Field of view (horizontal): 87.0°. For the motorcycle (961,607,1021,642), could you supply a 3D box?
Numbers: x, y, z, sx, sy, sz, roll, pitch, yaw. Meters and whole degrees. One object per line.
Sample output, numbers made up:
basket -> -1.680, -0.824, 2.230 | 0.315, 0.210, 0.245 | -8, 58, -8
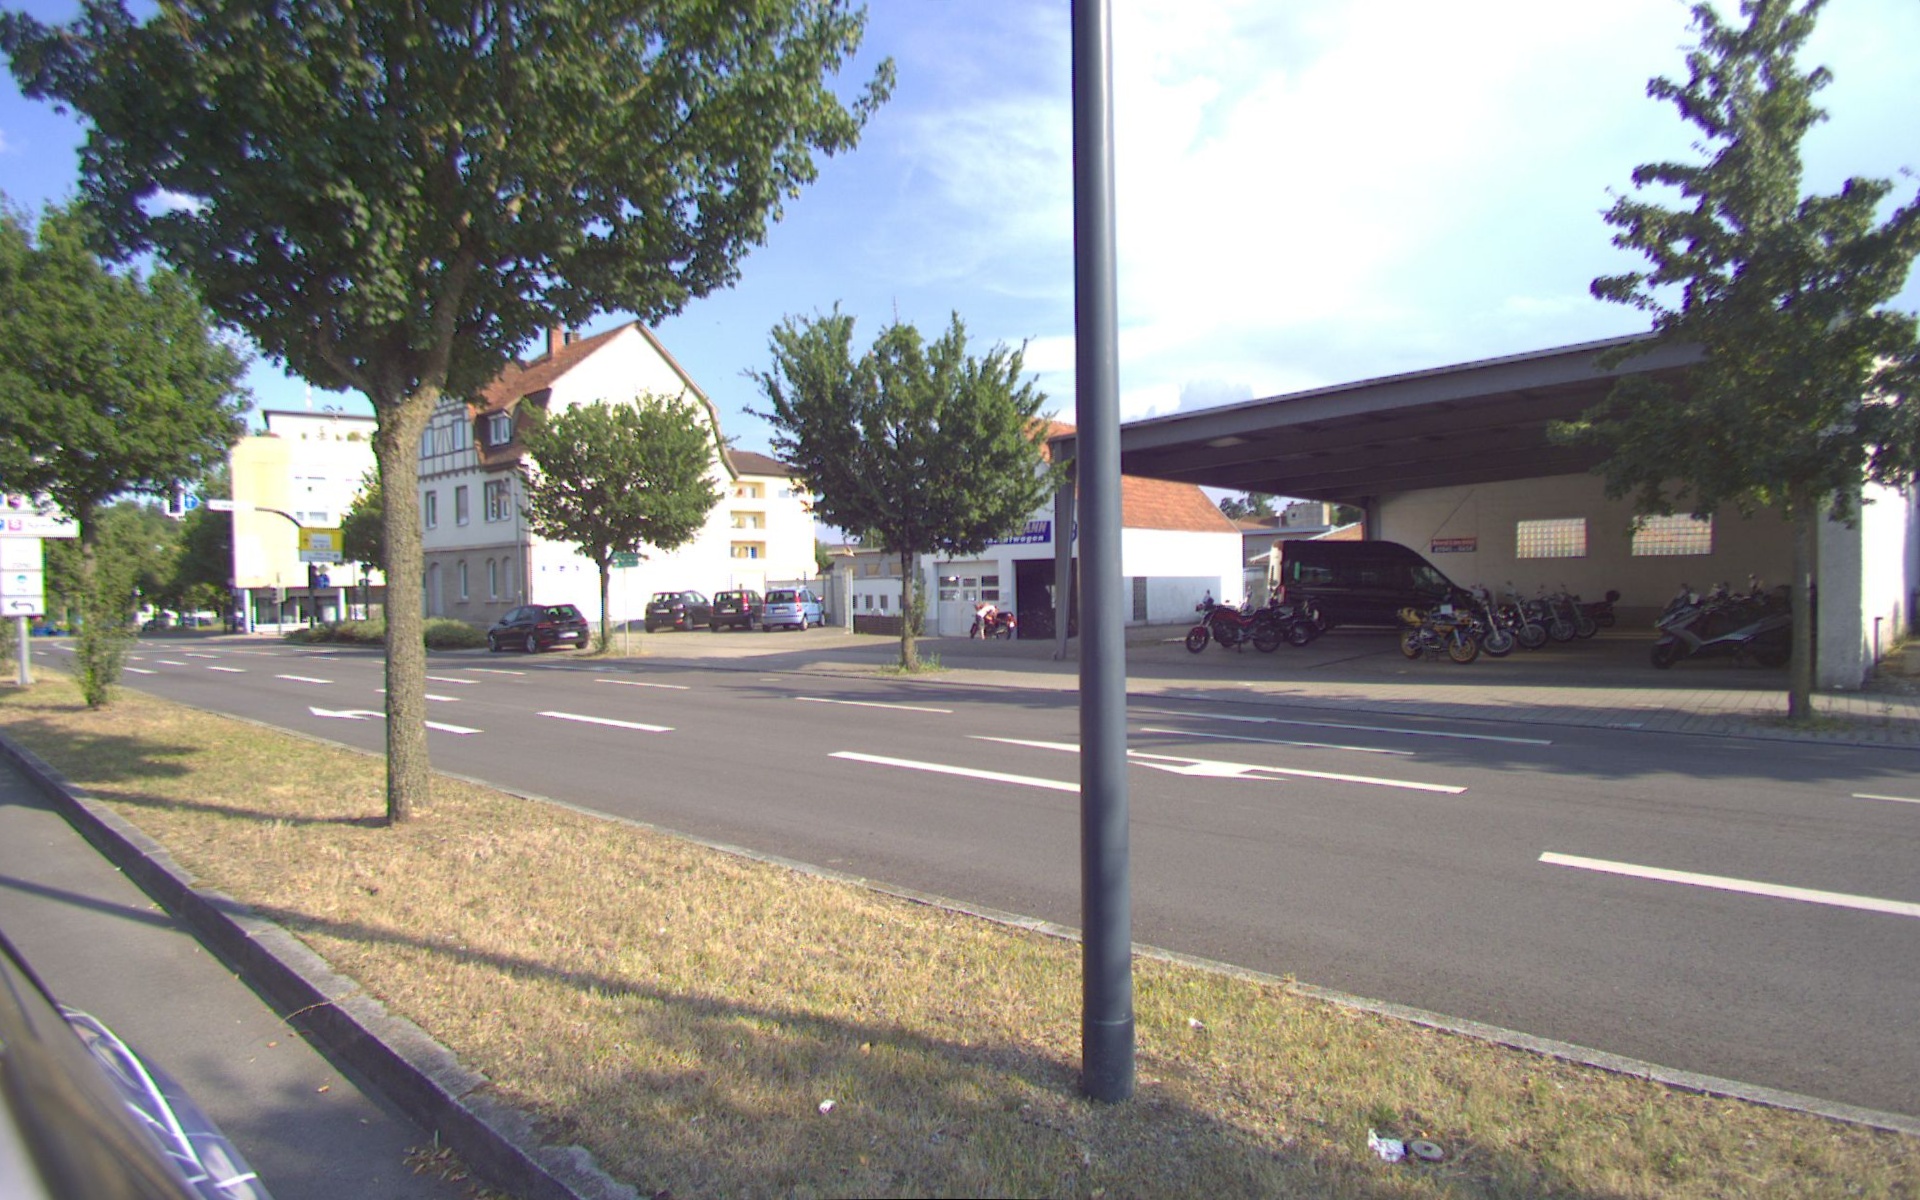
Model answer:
motorcycle -> 1.031, 0.833, 34.515 | 2.114, 1.155, 0.483 | -2, 0, 35

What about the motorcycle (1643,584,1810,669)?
motorcycle -> 12.376, 0.432, 16.399 | 2.074, 1.310, 0.523 | -1, 0, 15

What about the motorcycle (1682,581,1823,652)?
motorcycle -> 15.325, 0.328, 19.618 | 2.074, 1.310, 0.523 | -1, 0, 15

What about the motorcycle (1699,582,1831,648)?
motorcycle -> 16.789, 0.316, 21.149 | 2.074, 1.310, 0.523 | -1, 0, 15

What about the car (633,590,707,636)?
car -> -11.016, 0.470, 38.667 | 1.836, 1.638, 3.410 | -1, 0, 0

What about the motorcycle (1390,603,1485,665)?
motorcycle -> 9.105, 0.629, 19.382 | 0.542, 1.107, 2.052 | -1, 0, -9

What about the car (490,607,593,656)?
car -> -12.935, 0.930, 31.213 | 3.433, 1.327, 1.650 | 0, 3, 45

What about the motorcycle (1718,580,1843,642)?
motorcycle -> 18.130, 0.245, 22.412 | 2.074, 1.310, 0.523 | -1, 0, 15

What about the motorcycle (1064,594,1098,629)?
motorcycle -> 4.874, 0.448, 40.788 | 0.487, 1.332, 2.096 | -2, 0, 32

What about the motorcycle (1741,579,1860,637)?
motorcycle -> 19.708, 0.192, 23.761 | 2.074, 1.310, 0.523 | -1, 0, 15

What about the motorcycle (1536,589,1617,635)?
motorcycle -> 15.895, 0.304, 26.153 | 0.542, 1.107, 2.052 | -1, 0, -9

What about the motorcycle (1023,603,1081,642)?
motorcycle -> 3.289, 0.796, 36.121 | 2.082, 1.332, 0.490 | -1, 0, -27

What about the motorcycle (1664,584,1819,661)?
motorcycle -> 13.697, 0.399, 17.795 | 2.074, 1.310, 0.523 | -1, 0, 15

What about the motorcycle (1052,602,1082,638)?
motorcycle -> 4.069, 0.742, 38.320 | 0.486, 1.332, 2.102 | -2, 0, 24

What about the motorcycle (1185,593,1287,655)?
motorcycle -> 6.089, 0.529, 22.426 | 2.096, 1.332, 0.487 | -1, 0, 11

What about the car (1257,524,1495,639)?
car -> 11.736, -0.479, 29.062 | 5.734, 2.982, 2.670 | -1, 0, 9

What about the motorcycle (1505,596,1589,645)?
motorcycle -> 14.133, 0.478, 24.422 | 0.542, 1.107, 2.052 | -1, 0, -9

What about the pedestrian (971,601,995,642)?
pedestrian -> 0.763, 0.723, 34.097 | 0.583, 1.350, 0.589 | -1, 0, 34

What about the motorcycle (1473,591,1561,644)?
motorcycle -> 12.481, 0.382, 22.744 | 0.542, 1.107, 2.052 | -1, 0, -9

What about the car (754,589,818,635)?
car -> -6.264, 0.430, 36.698 | 1.599, 1.555, 3.429 | -1, -1, 2

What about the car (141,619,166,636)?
car -> -102.804, 3.458, 129.043 | 1.966, 2.029, 4.012 | -1, 0, -30

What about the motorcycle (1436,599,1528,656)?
motorcycle -> 10.775, 0.551, 20.984 | 0.542, 1.107, 2.052 | -1, 0, -9

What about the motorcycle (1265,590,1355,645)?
motorcycle -> 8.962, 0.438, 25.913 | 2.090, 1.332, 0.488 | -1, 0, 1

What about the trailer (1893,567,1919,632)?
trailer -> 18.699, -0.051, 18.116 | 3.312, 1.121, 2.174 | -2, 1, -33

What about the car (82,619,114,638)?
car -> -100.321, 3.273, 117.823 | 1.789, 2.029, 4.013 | -1, 0, -23

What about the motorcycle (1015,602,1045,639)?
motorcycle -> 2.672, 0.764, 38.552 | 0.485, 1.332, 2.104 | -2, 0, 21

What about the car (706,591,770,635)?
car -> -8.362, 0.454, 38.405 | 1.566, 1.576, 3.429 | -1, 0, 2

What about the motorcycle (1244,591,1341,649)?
motorcycle -> 7.907, 0.476, 24.122 | 2.095, 1.332, 0.487 | -1, 0, 9
